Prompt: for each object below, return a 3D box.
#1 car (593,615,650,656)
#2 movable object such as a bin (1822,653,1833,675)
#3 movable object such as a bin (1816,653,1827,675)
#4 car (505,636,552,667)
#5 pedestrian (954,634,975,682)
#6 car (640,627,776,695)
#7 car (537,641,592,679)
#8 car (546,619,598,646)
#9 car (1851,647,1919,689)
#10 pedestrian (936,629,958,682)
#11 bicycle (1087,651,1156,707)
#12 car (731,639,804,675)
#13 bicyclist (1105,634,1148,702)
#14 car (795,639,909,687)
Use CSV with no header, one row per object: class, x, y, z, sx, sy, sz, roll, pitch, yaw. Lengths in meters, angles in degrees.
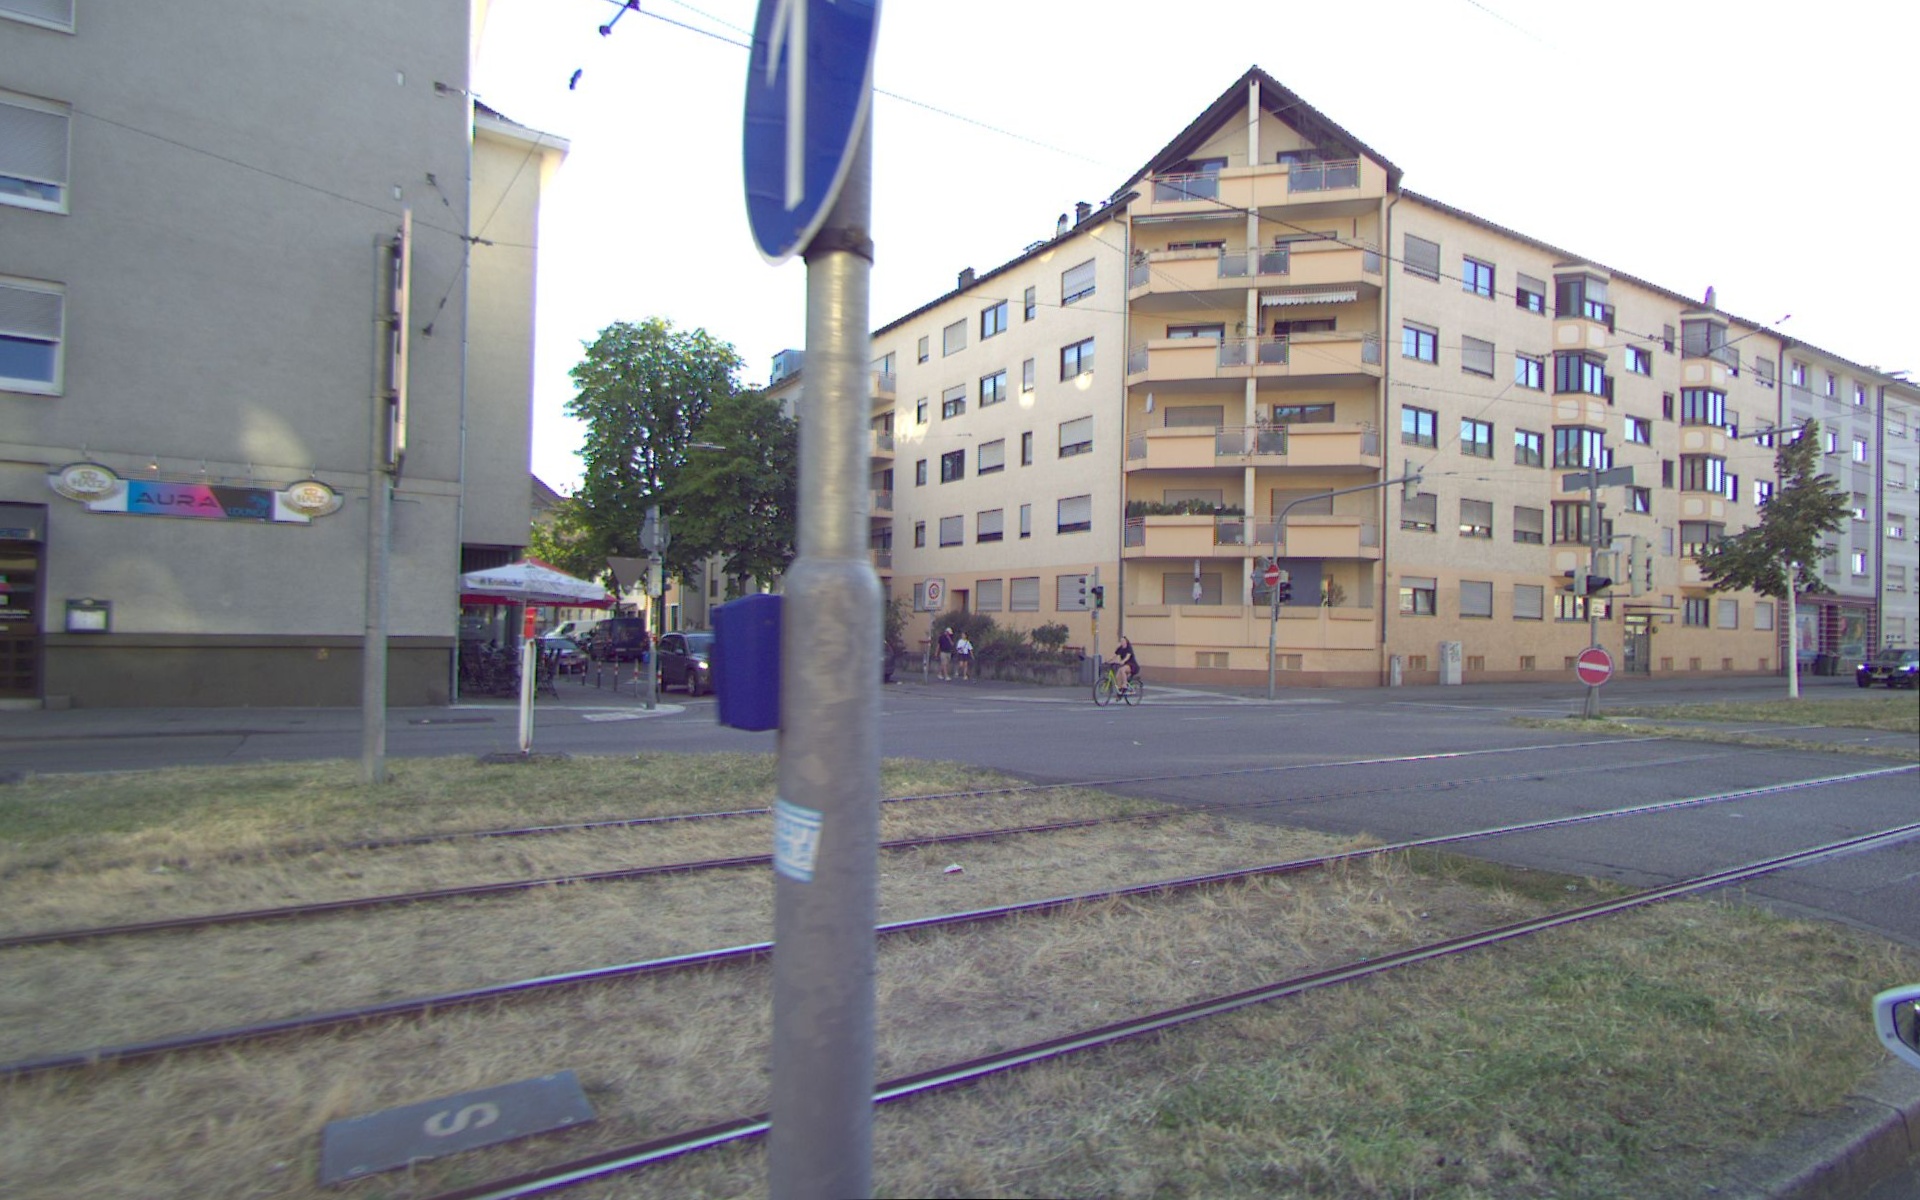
car,-18.116,1.887,53.670,1.978,2.040,3.965,3,-2,-32
movable object such as a bin,42.464,3.120,49.170,0.437,1.050,0.296,3,-1,-33
movable object such as a bin,41.795,3.097,48.738,0.437,1.050,0.296,3,-1,-33
car,-20.383,2.409,47.399,1.417,1.293,3.323,3,-1,-34
pedestrian,0.153,1.942,33.556,0.509,1.573,0.547,1,0,-26
car,-6.881,1.594,27.195,1.983,1.645,4.150,2,-2,-39
car,-15.734,2.354,39.883,1.487,1.328,3.107,3,-1,-31
car,-29.240,2.448,75.764,3.445,1.819,1.690,3,-1,-28
car,39.823,2.862,42.486,4.694,1.655,1.887,2,-3,-31
pedestrian,-0.442,1.831,33.449,0.457,1.727,0.588,3,-1,-26
bicycle,3.875,1.863,24.030,1.852,1.274,0.452,1,-1,-35
car,-7.664,2.238,39.850,1.754,1.280,3.280,3,-2,-32
bicyclist,3.995,1.617,24.108,0.800,1.607,0.622,1,-1,-33
car,-3.664,2.049,33.513,1.983,1.461,3.955,1,-2,-39
